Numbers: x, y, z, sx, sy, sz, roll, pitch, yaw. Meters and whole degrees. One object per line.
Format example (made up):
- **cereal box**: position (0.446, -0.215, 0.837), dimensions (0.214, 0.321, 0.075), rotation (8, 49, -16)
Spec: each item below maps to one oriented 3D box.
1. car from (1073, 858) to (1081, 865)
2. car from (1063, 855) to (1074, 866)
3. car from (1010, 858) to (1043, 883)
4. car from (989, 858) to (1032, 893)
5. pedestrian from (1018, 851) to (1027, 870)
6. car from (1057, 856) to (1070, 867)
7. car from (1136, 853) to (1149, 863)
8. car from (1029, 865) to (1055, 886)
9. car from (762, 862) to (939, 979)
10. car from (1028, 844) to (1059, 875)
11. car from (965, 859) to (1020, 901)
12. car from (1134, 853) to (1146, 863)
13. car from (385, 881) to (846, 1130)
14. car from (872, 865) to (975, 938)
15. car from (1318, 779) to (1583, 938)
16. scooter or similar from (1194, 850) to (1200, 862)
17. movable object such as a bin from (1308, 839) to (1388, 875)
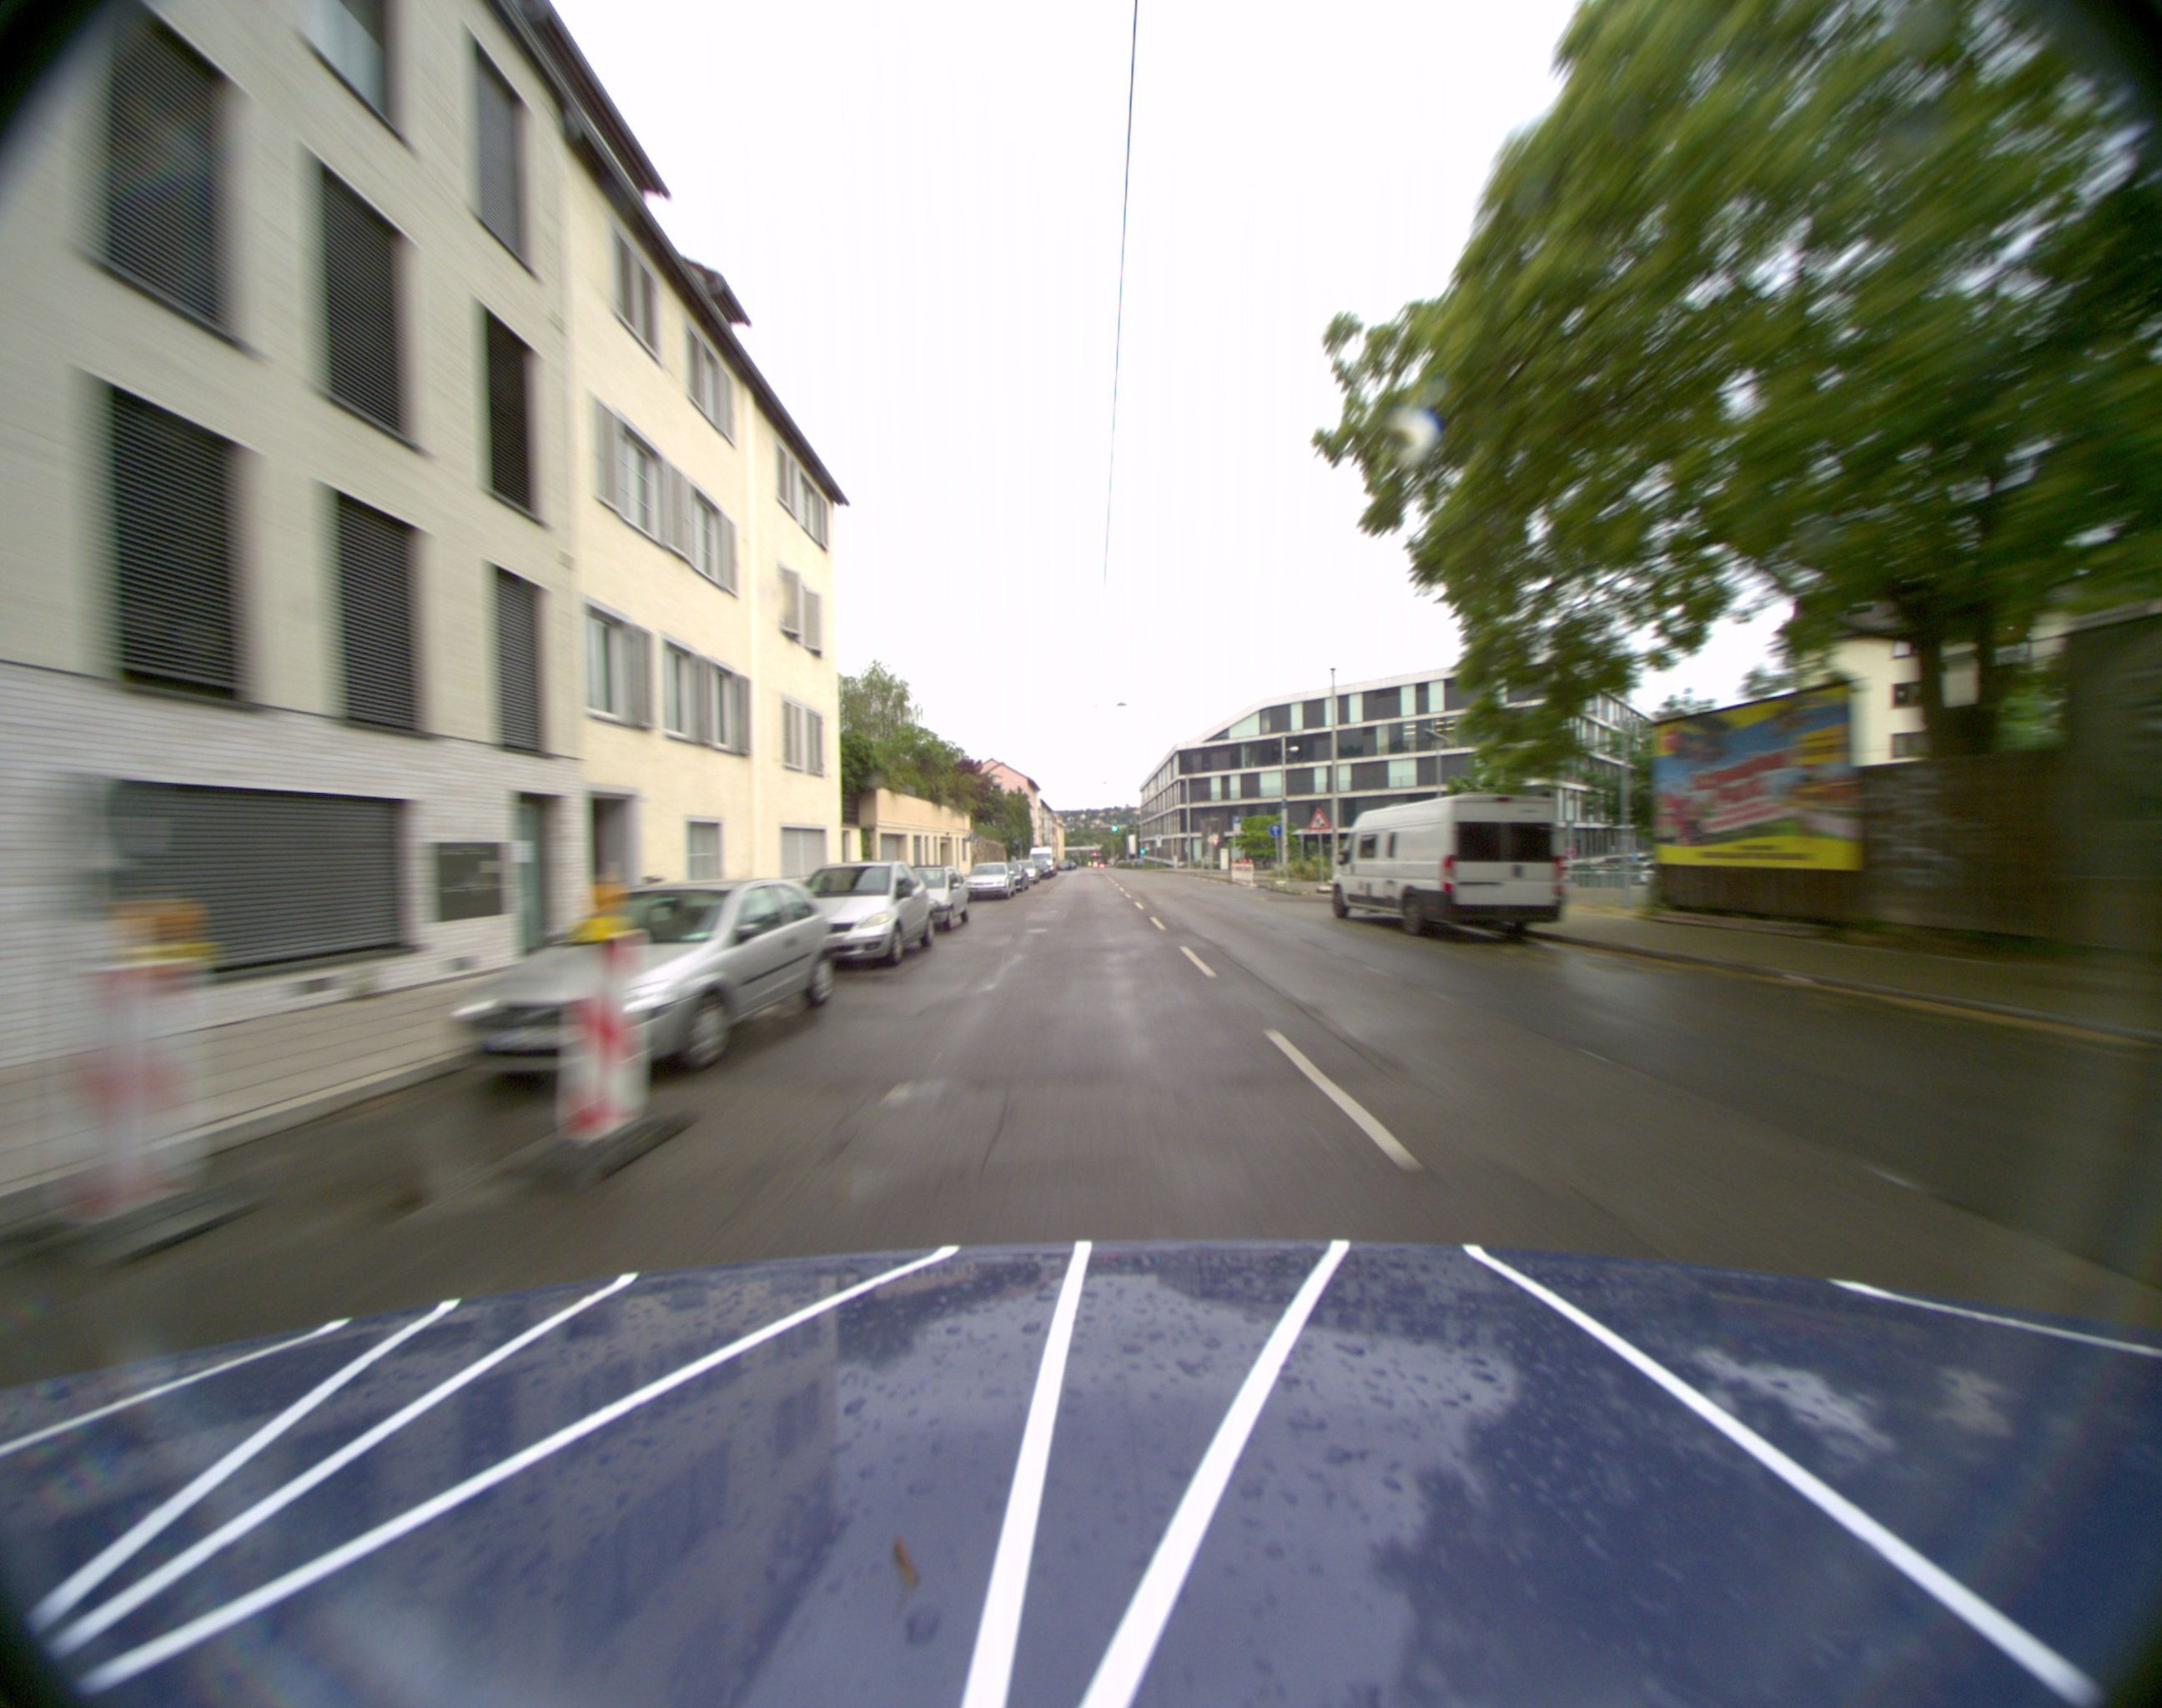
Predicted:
- **car**: position (-0.902, 1.545, 163.988), dimensions (1.630, 1.402, 3.778), rotation (-2, 0, 1)
- **car**: position (-2.033, 1.037, 121.655), dimensions (1.630, 1.740, 3.778), rotation (-2, 0, 1)
- **car**: position (-3.340, 0.988, 47.339), dimensions (1.693, 1.445, 4.235), rotation (-3, 0, 0)
- **car**: position (-3.280, 0.974, 35.908), dimensions (1.633, 1.445, 3.759), rotation (-3, 0, 0)
- **pedestrian**: position (-5.286, 0.591, 68.302), dimensions (0.725, 1.705, 0.905), rotation (0, 0, 2)
- **car**: position (-2.688, 1.111, 114.957), dimensions (1.796, 1.510, 4.513), rotation (1, 0, 1)
- **car**: position (9.157, 0.603, 113.139), dimensions (1.641, 1.458, 3.583), rotation (-1, 0, -1)
- **car**: position (-2.927, 1.623, 58.261), dimensions (1.693, 1.445, 4.235), rotation (-3, 0, 0)
- **car**: position (-3.554, 0.939, 12.475), dimensions (1.721, 1.515, 3.999), rotation (-3, 0, -2)
- **car**: position (-3.173, 0.467, 65.441), dimensions (2.211, 2.449, 6.080), rotation (-3, 0, 1)
- **car**: position (-3.401, 0.980, 29.800), dimensions (1.633, 1.445, 3.759), rotation (-3, 0, 0)
- **car**: position (9.219, 0.595, 118.381), dimensions (1.641, 1.458, 3.584), rotation (-1, 0, 2)
- **car**: position (-3.572, 1.036, 6.775), dimensions (1.630, 1.402, 3.842), rotation (-3, 0, 1)
- **car**: position (-3.585, 1.025, 17.870), dimensions (1.562, 1.445, 3.759), rotation (-3, 0, 0)
- **car**: position (7.016, 0.082, 15.601), dimensions (2.236, 2.564, 6.537), rotation (0, 0, 0)
- **scooter or similar**: position (11.786, 0.186, 77.161), dimensions (0.497, 1.241, 1.231), rotation (-2, 1, 2)
- **movable object such as a bin**: position (18.948, 0.204, 54.109), dimensions (1.674, 2.445, 5.274), rotation (-2, 0, -39)
